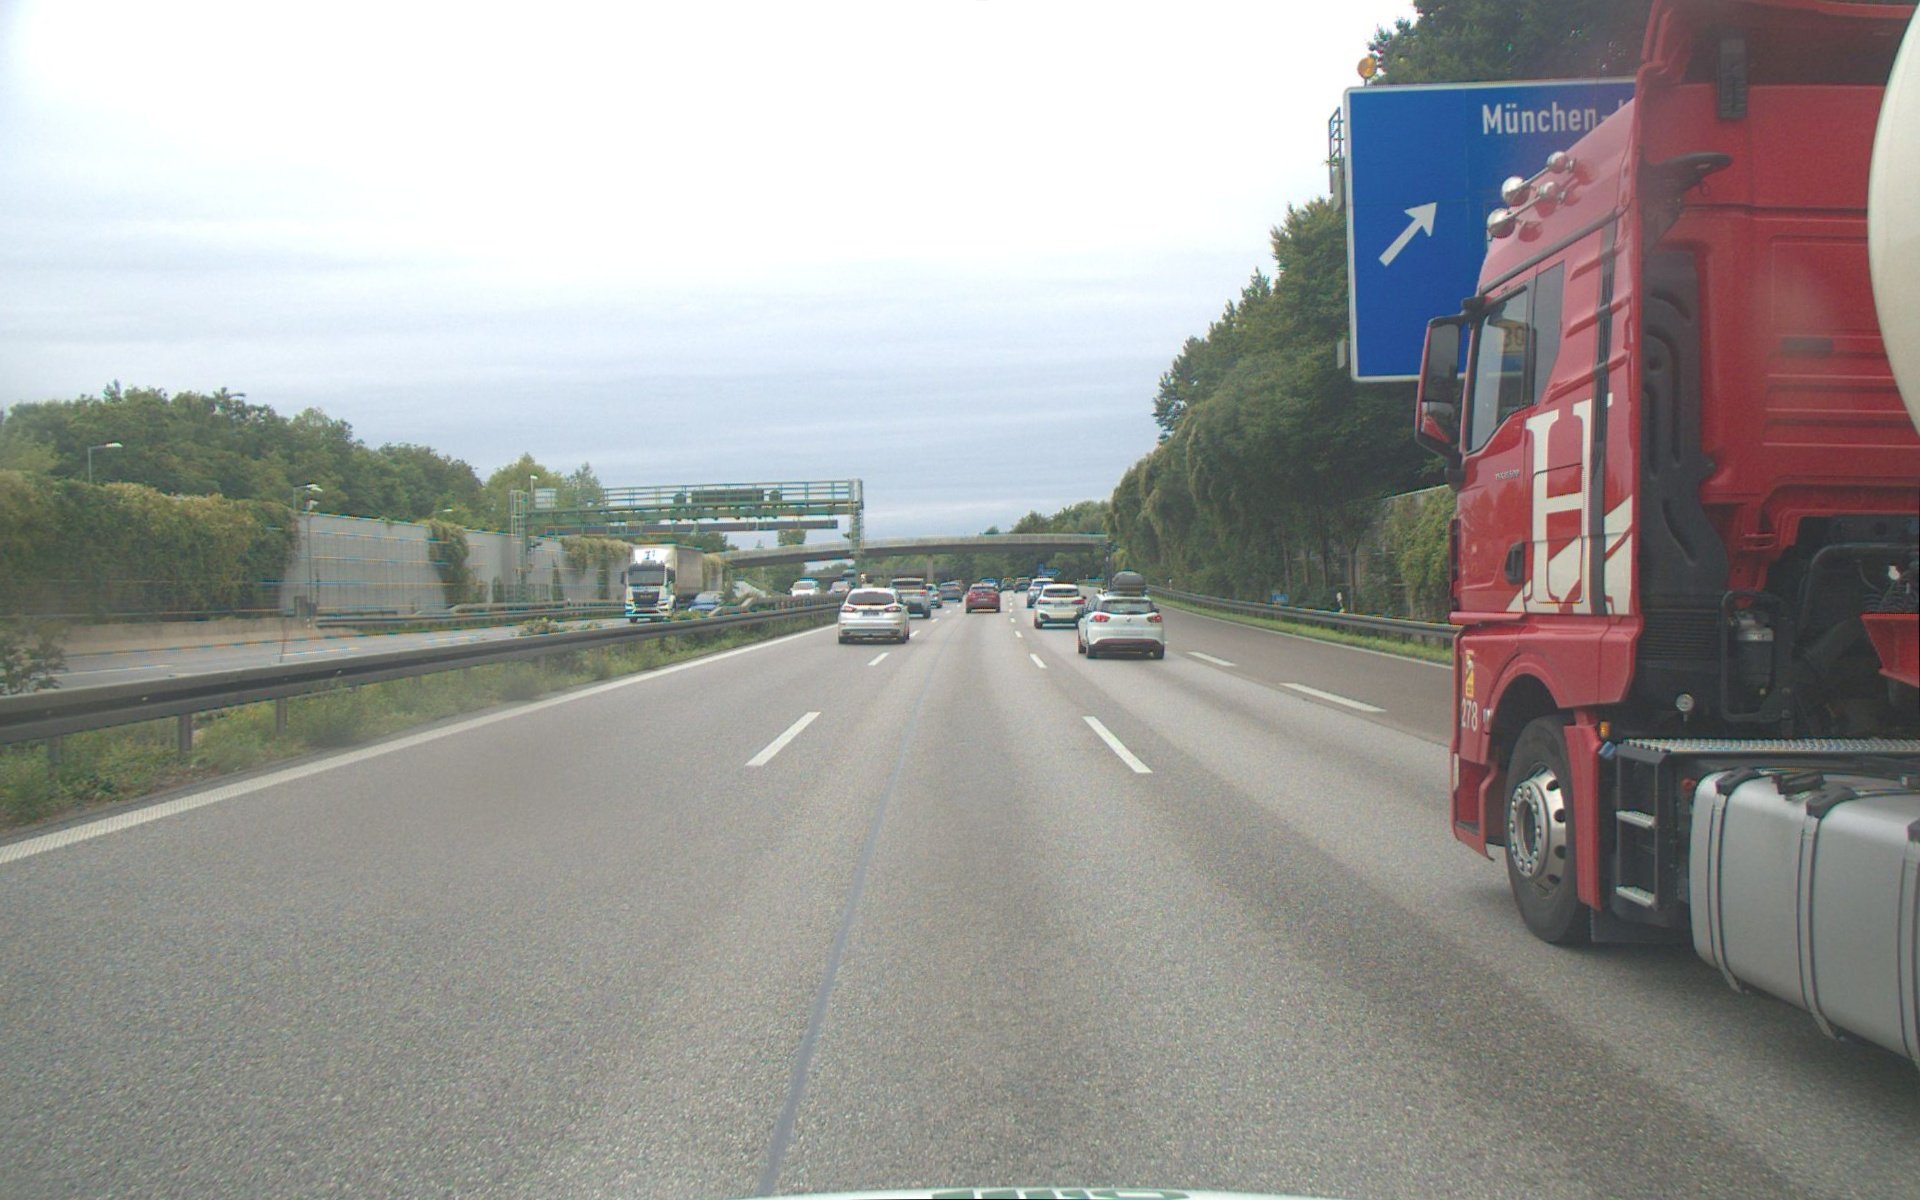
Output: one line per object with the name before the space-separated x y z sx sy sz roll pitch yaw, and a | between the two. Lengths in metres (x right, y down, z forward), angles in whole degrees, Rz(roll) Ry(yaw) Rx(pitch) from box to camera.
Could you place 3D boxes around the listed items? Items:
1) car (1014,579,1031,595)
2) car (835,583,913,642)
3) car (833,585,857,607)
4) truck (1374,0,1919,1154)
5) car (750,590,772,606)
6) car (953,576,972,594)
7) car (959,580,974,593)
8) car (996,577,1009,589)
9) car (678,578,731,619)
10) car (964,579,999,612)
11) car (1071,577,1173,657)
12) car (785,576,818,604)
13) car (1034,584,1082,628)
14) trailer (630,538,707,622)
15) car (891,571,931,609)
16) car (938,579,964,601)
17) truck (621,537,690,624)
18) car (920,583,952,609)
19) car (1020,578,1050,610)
car | 6.179 -1.281 164.028 1.653 1.566 3.873 0 0 3
car | -2.302 0.329 45.408 1.853 1.530 5.030 0 0 0
car | -11.192 -0.387 161.042 1.952 2.049 4.000 0 0 0
truck | 3.855 -0.519 6.732 2.640 3.981 6.555 0 0 -1
car | -20.328 -0.204 168.798 1.755 1.646 4.000 0 0 0
car | 0.253 -1.407 159.715 1.653 1.668 3.872 -1 0 2
car | 0.817 -1.635 200.704 1.654 1.446 3.872 3 1 1
car | 5.465 -2.185 212.210 1.654 1.447 4.072 0 0 1
car | -13.076 -0.045 84.967 1.952 2.049 4.909 0 0 0
car | 1.119 -0.239 85.439 1.654 1.532 3.872 4 1 1
car | 3.606 0.373 37.585 1.779 1.654 5.029 -1 0 0
car | -11.828 -0.716 123.888 1.952 2.049 4.909 0 0 0
car | 3.510 0.225 59.571 1.653 1.533 3.872 0 0 2
trailer | -16.381 -1.101 93.591 2.613 4.522 8.575 -1 0 1
car | -2.179 -0.473 74.606 1.655 1.532 3.871 4 1 -1
car | -0.676 -0.764 123.058 1.654 1.532 3.873 4 1 2
truck | -16.453 -1.056 89.578 2.594 4.551 5.284 -1 0 1
car | -1.448 -0.265 101.050 1.654 1.533 3.873 -2 0 3
car | 4.325 -0.353 95.089 1.653 1.811 3.873 0 0 3
